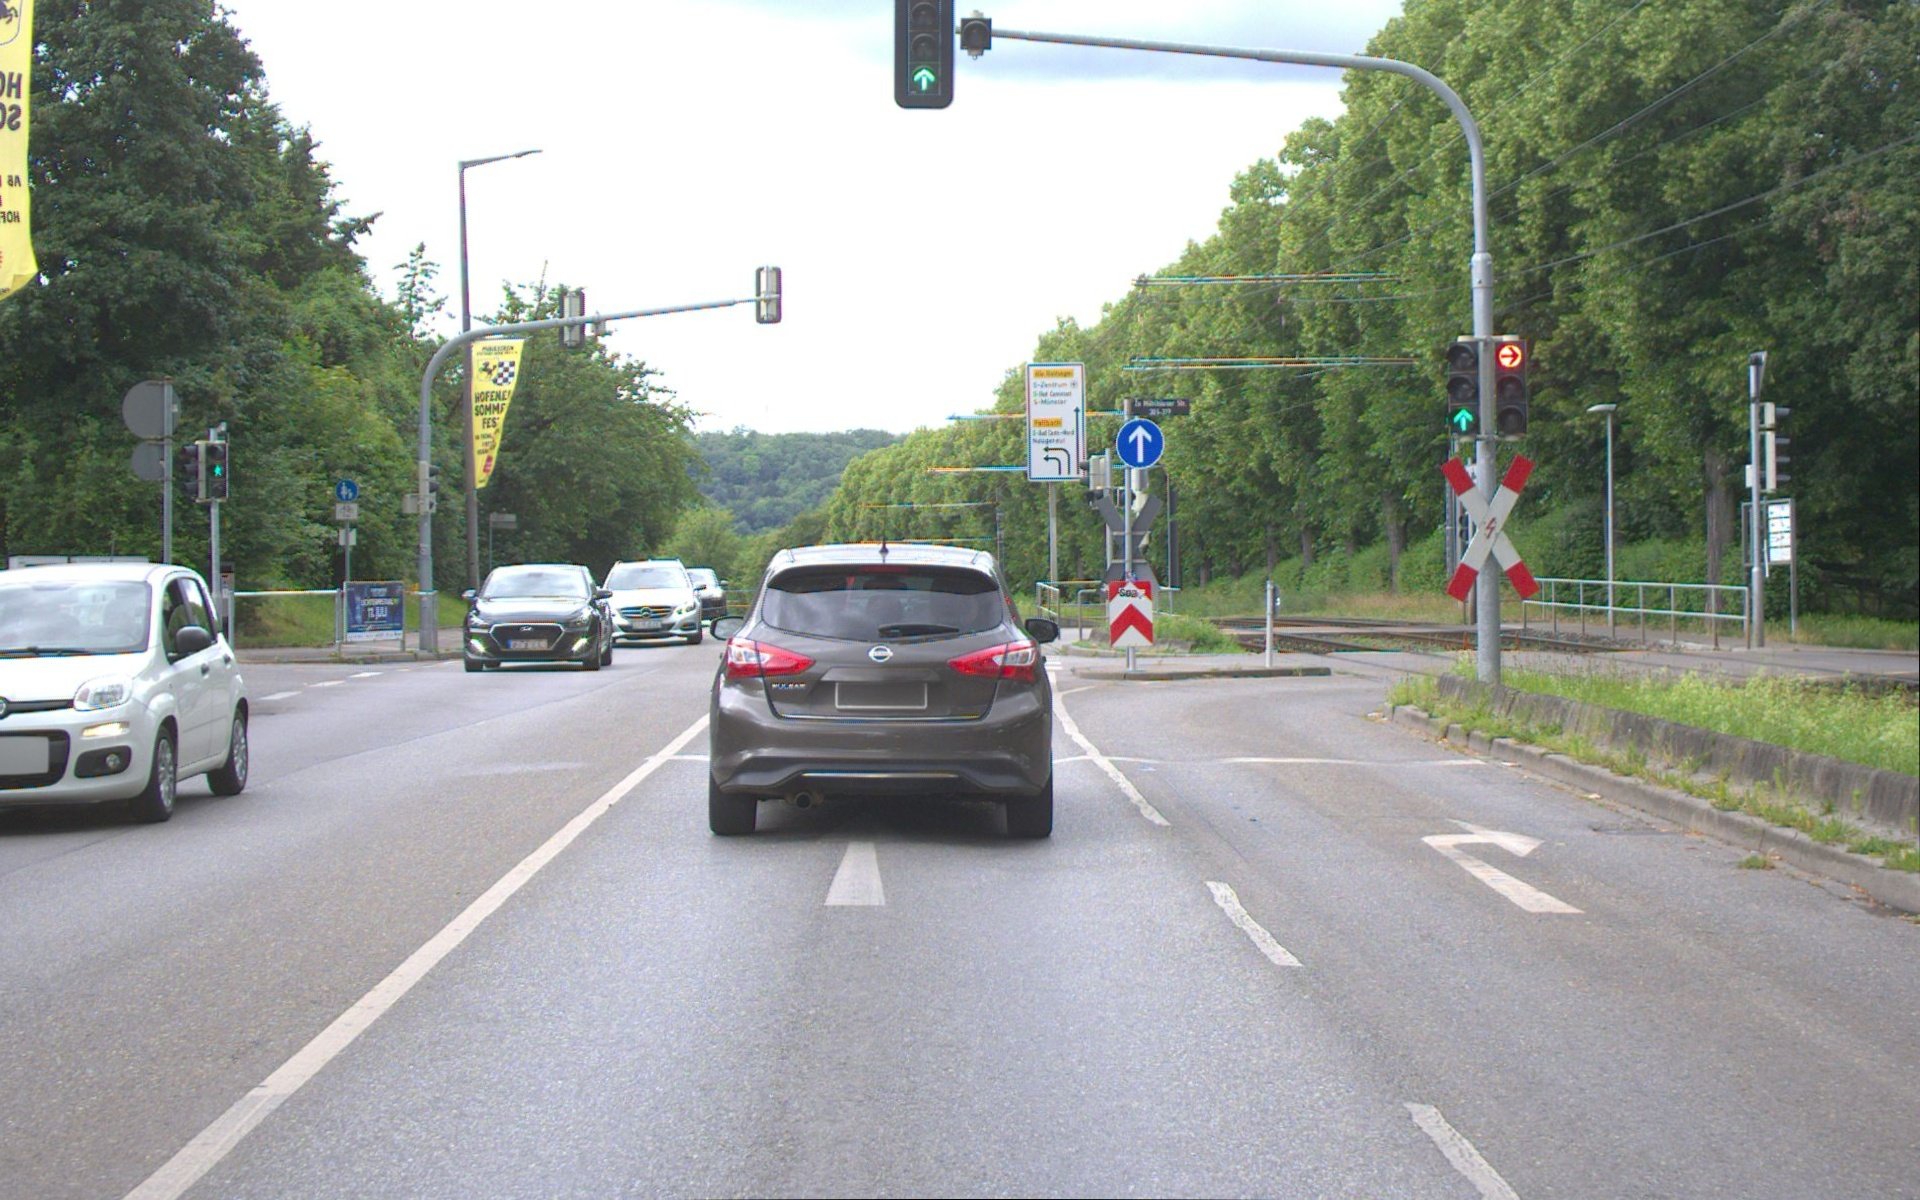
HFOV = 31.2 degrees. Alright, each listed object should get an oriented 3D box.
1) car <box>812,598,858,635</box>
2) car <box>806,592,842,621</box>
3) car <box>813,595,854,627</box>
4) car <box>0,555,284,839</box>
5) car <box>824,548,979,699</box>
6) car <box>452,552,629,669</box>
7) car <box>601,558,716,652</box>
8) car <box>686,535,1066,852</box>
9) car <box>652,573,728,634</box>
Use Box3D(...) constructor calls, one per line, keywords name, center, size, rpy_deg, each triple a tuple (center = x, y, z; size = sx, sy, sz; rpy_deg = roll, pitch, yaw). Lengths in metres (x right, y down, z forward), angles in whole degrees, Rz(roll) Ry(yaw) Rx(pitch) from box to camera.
Box3D(name="car", center=(-4.883, 0.639, 133.797), size=(1.741, 1.305, 4.001), rpy_deg=(2, 1, -2))
Box3D(name="car", center=(-6.755, 0.304, 171.014), size=(1.741, 1.305, 4.001), rpy_deg=(2, 1, -2))
Box3D(name="car", center=(-5.565, 0.474, 150.698), size=(1.741, 1.305, 4.001), rpy_deg=(2, 1, -2))
Box3D(name="car", center=(-5.498, 0.525, 21.340), size=(1.812, 1.519, 4.701), rpy_deg=(-2, 1, -3))
Box3D(name="car", center=(-0.598, 0.206, 36.270), size=(1.538, 1.473, 3.764), rpy_deg=(-1, 1, -1))
Box3D(name="car", center=(-5.620, 0.109, 46.534), size=(1.812, 1.368, 4.160), rpy_deg=(4, 1, 0))
Box3D(name="car", center=(-5.363, 0.053, 61.623), size=(1.818, 1.561, 5.206), rpy_deg=(1, 1, -3))
Box3D(name="car", center=(-0.431, 0.418, 19.114), size=(1.835, 1.514, 4.483), rpy_deg=(1, 1, -1))
Box3D(name="car", center=(-7.324, 0.107, 93.669), size=(1.901, 1.569, 4.483), rpy_deg=(1, 0, -3))
